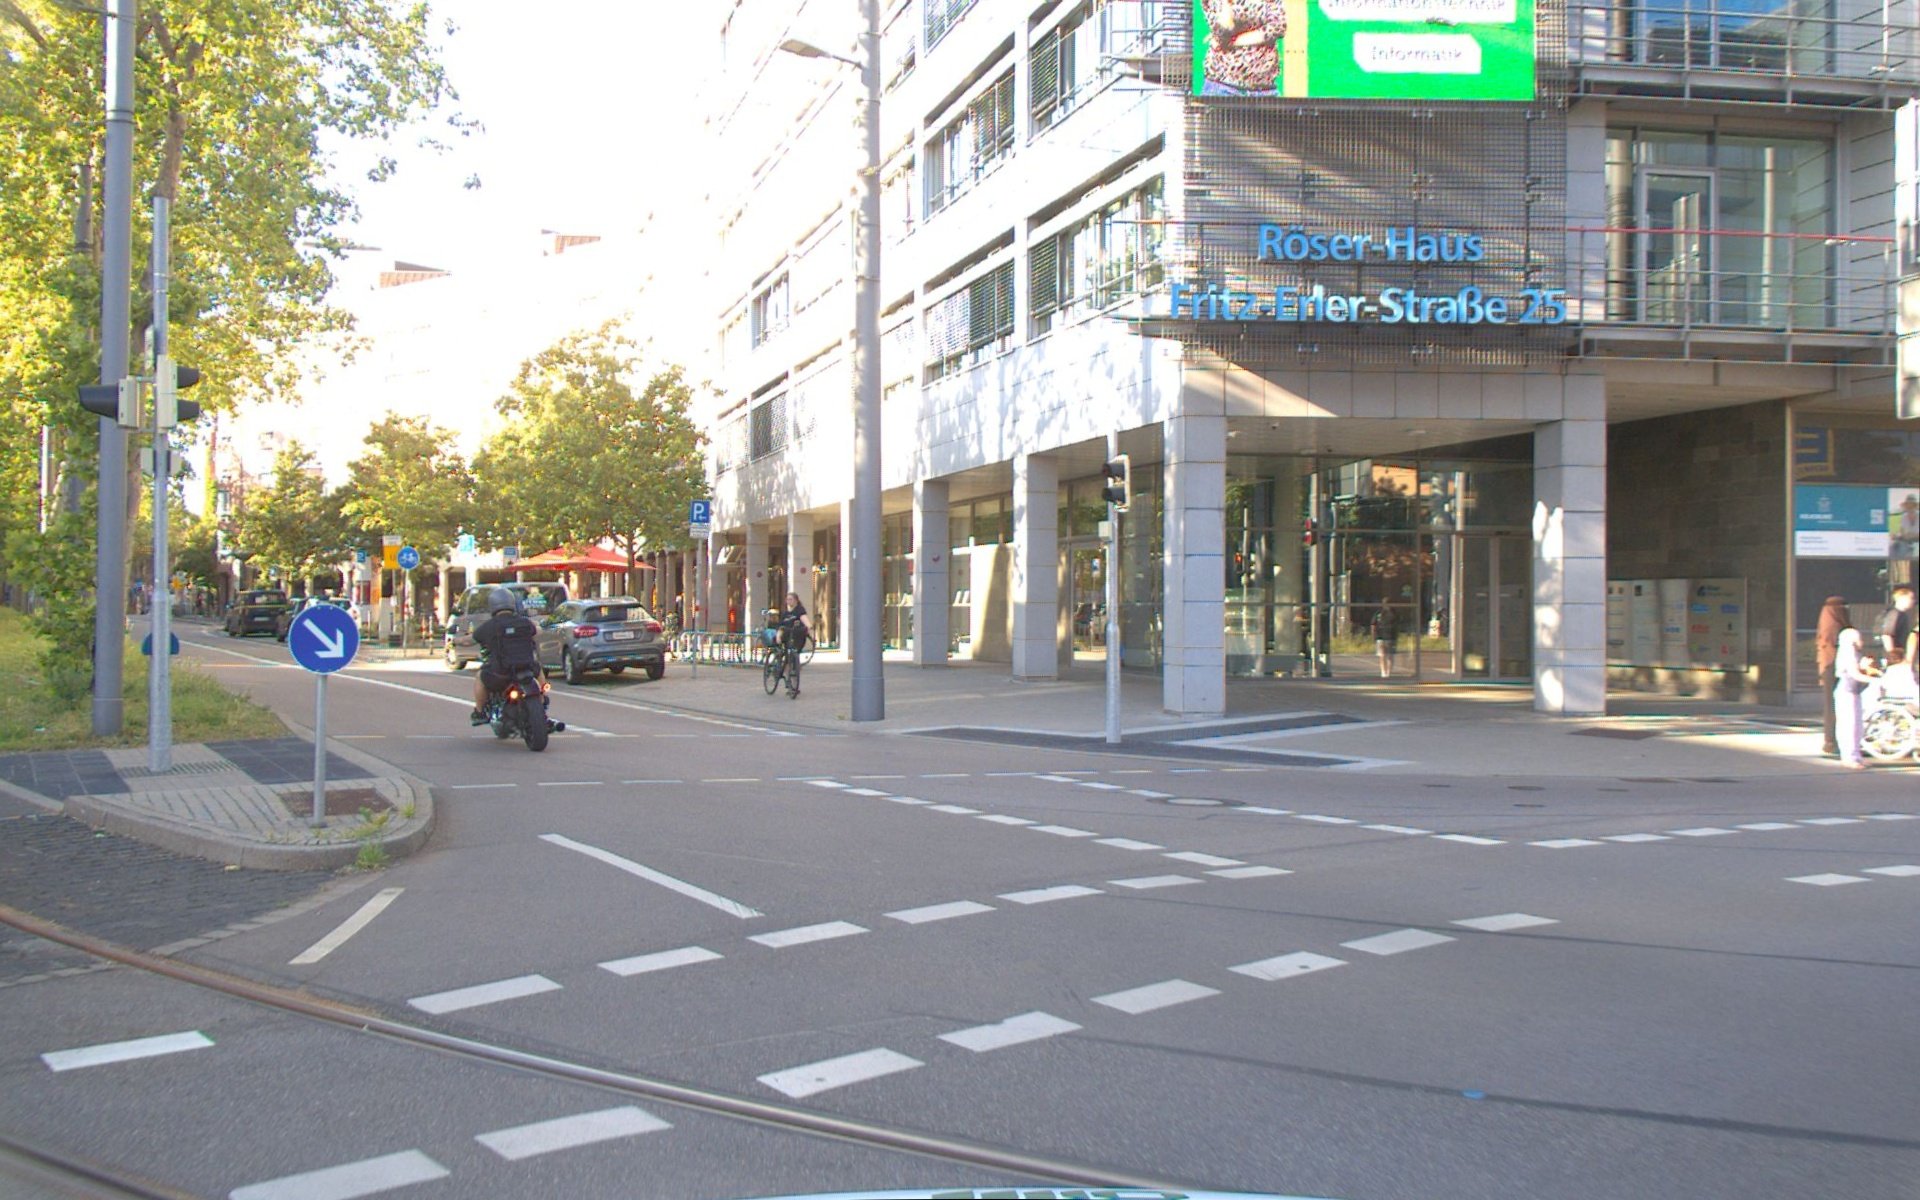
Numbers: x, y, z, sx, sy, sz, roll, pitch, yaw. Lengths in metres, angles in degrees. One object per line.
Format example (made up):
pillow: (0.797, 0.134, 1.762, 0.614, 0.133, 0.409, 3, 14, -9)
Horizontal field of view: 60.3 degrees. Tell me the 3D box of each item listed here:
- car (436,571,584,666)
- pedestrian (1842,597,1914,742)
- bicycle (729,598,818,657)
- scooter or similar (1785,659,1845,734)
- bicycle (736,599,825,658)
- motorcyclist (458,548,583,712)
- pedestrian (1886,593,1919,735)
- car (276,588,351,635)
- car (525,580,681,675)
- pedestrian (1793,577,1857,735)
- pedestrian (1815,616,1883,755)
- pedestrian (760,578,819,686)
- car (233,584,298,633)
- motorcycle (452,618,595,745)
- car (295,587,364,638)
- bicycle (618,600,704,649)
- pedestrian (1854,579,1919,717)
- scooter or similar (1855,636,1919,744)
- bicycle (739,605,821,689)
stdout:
car: (-9.979, 0.369, 36.437, 1.903, 1.875, 4.874, -3, 2, -30)
pedestrian: (10.652, 0.787, 19.212, 0.688, 1.628, 0.659, 1, 1, 27)
bicycle: (-3.979, 0.573, 35.306, 1.810, 1.171, 0.466, -2, 1, -26)
scooter or similar: (10.082, 1.128, 19.516, 0.603, 0.804, 0.659, 1, 1, 27)
bicycle: (-3.781, 0.585, 34.875, 1.810, 1.171, 0.466, -2, 1, -26)
motorcyclist: (-4.445, 0.271, 16.681, 1.010, 1.579, 1.276, 0, 1, -26)
pedestrian: (11.383, 0.739, 19.348, 0.644, 1.645, 0.718, 0, 0, -23)
car: (-24.325, 0.411, 62.136, 1.967, 1.657, 4.042, -2, 1, -31)
car: (-6.913, 0.471, 31.689, 1.838, 1.600, 4.376, -3, 1, -27)
pedestrian: (9.726, 0.612, 18.588, 0.624, 1.738, 0.580, 0, 0, 29)
pedestrian: (9.424, 0.892, 17.543, 0.624, 1.426, 0.545, 0, 0, 29)
pedestrian: (-2.705, 0.491, 26.244, 0.598, 1.639, 0.830, -4, 3, -29)
car: (-30.179, 0.338, 71.804, 2.009, 2.011, 4.368, -2, 1, -31)
motorcycle: (-4.438, 0.777, 16.680, 0.993, 1.145, 2.304, 0, 0, -25)
car: (-21.711, 0.404, 56.871, 1.837, 1.666, 3.834, -1, 0, -27)
bicycle: (-6.981, 0.556, 38.639, 1.850, 1.120, 0.732, 0, 0, -34)
pedestrian: (11.975, 0.602, 21.304, 0.630, 1.745, 0.691, 0, 0, 11)
scooter or similar: (10.415, 0.985, 18.184, 0.996, 1.149, 0.549, 0, 0, 29)
bicycle: (-2.850, 0.720, 26.083, 0.604, 1.183, 1.831, -4, 3, -28)
